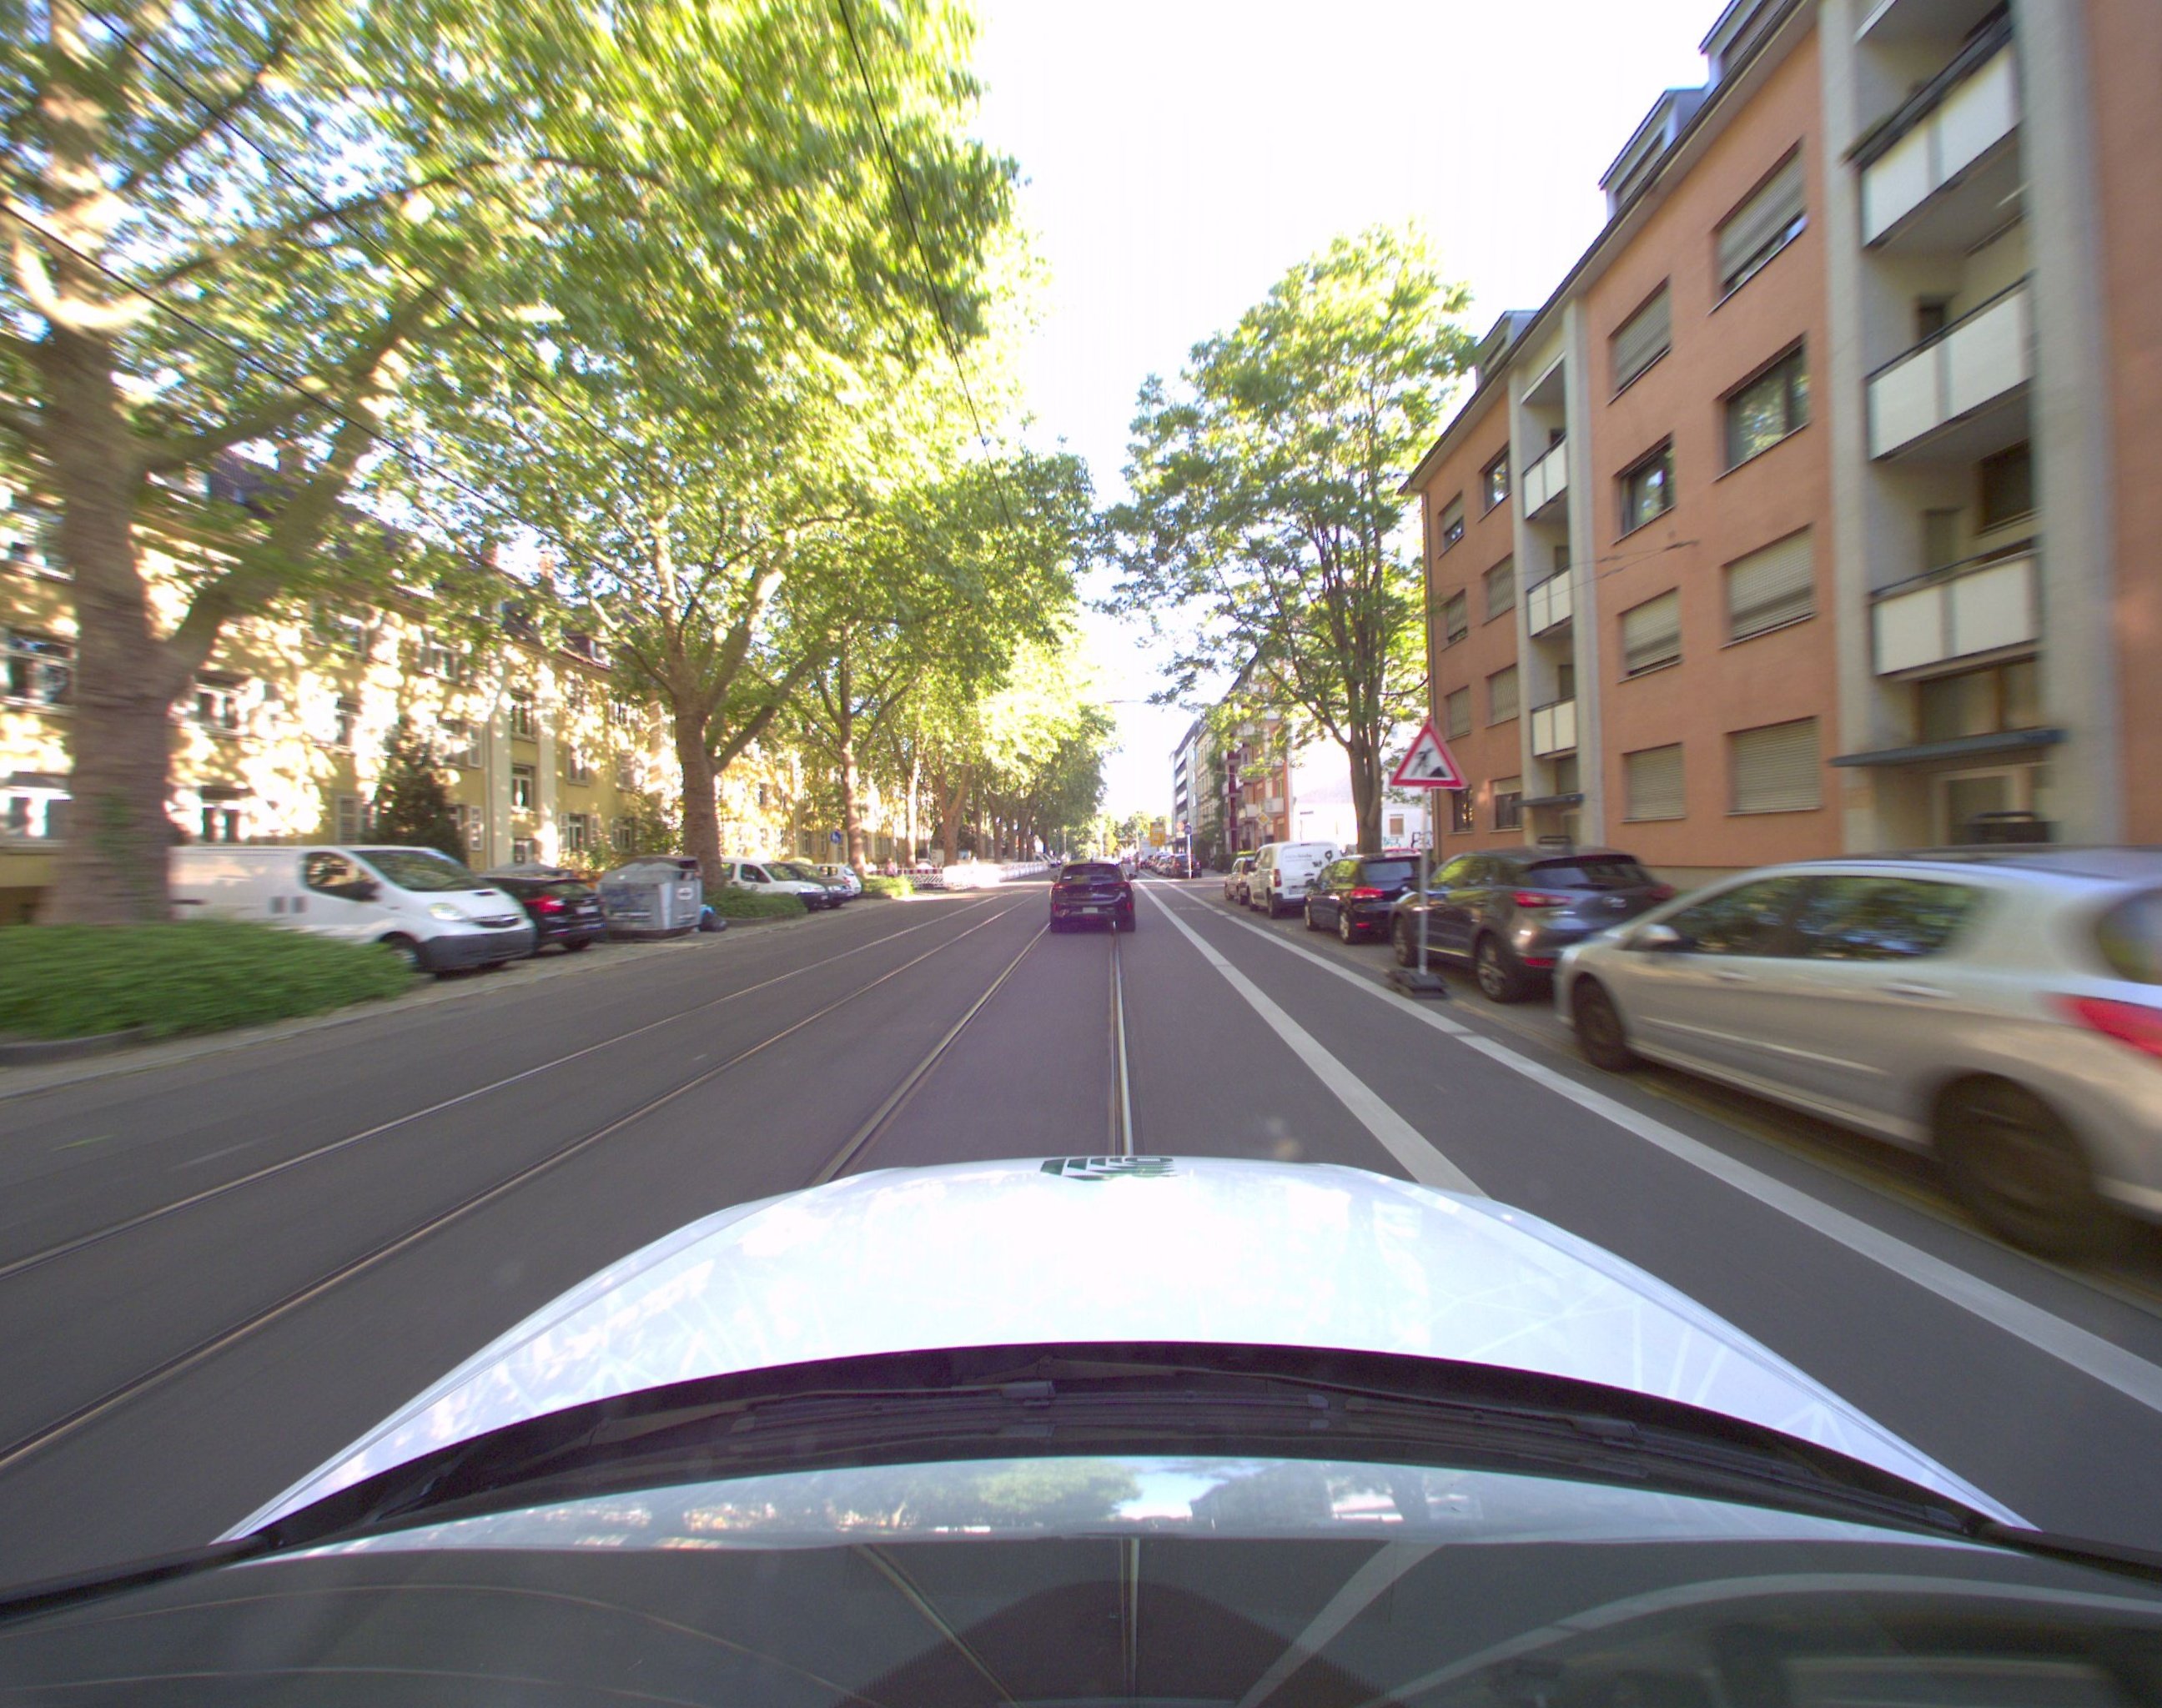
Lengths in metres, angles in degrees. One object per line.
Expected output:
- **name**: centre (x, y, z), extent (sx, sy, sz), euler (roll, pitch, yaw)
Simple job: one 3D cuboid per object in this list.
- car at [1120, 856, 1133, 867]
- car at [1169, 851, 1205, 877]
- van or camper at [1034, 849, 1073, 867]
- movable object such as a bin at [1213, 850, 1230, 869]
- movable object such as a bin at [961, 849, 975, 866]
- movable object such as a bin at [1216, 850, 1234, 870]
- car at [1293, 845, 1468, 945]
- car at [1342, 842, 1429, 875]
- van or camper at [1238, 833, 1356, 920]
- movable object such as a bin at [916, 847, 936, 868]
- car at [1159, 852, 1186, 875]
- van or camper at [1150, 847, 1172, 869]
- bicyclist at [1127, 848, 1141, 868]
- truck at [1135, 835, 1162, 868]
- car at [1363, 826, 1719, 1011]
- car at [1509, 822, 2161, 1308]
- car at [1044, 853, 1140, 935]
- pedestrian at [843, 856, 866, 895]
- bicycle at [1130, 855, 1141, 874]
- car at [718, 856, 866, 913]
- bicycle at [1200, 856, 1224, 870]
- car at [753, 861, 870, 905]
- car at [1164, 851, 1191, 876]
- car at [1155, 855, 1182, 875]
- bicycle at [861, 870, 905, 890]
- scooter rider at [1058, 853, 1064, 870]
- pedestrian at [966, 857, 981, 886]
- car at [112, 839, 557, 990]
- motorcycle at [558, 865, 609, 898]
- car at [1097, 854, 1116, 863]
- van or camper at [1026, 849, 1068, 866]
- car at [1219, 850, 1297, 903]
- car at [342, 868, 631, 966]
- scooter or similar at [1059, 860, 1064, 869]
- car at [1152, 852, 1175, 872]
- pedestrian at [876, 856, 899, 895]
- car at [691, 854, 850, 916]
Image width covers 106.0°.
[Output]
- **car**: centre (7.705, 1.190, 138.143), extent (1.986, 1.695, 4.742), euler (-4, 0, 2)
- **car**: centre (6.498, 0.597, 50.188), extent (1.727, 1.462, 3.918), euler (-4, 0, 2)
- **van or camper**: centre (-4.142, 0.560, 122.502), extent (5.701, 2.644, 2.271), euler (-1, -1, 2)
- **movable object such as a bin**: centre (9.946, 0.385, 57.739), extent (0.920, 1.327, 1.682), euler (-1, -1, 2)
- **movable object such as a bin**: centre (-10.887, 0.352, 78.315), extent (1.093, 1.645, 1.560), euler (-1, -1, 2)
- **movable object such as a bin**: centre (9.875, 0.439, 55.933), extent (0.963, 1.327, 1.722), euler (-1, -1, 2)
- **car**: centre (5.168, 0.630, 14.661), extent (1.699, 1.473, 4.170), euler (-2, 0, 2)
- **car**: centre (15.547, 0.223, 41.676), extent (3.900, 1.482, 1.562), euler (-2, 3, 0)
- **van or camper**: centre (5.234, 0.496, 20.384), extent (1.748, 1.864, 4.832), euler (-2, 0, 2)
- **movable object such as a bin**: centre (-13.919, 0.350, 73.344), extent (1.328, 1.869, 2.008), euler (-1, -1, 2)
- **car**: centre (6.601, 0.660, 58.924), extent (1.585, 1.526, 3.837), euler (-4, -1, 3)
- **van or camper**: centre (7.281, 0.319, 74.525), extent (1.662, 1.883, 4.213), euler (-3, 0, 3)
- **bicyclist**: centre (4.461, 0.348, 68.395), extent (1.085, 1.647, 1.401), euler (-1, 0, 3)
- **truck**: centre (7.534, -0.265, 91.811), extent (2.528, 3.338, 7.199), euler (-4, -1, 3)
- **car**: centre (4.940, 0.586, 9.584), extent (1.761, 1.572, 4.339), euler (-4, 0, 2)
- **car**: centre (4.431, 0.663, 4.599), extent (1.781, 1.522, 4.324), euler (-4, 0, 2)
- **car**: centre (0.270, 0.741, 17.199), extent (1.775, 1.496, 4.002), euler (-1, 0, 2)
- **pedestrian**: centre (-10.515, 0.988, 37.820), extent (0.819, 1.745, 0.797), euler (-1, -1, 2)
- **bicycle**: centre (4.577, 0.881, 68.476), extent (0.912, 1.561, 3.407), euler (-1, 0, 3)
- **car**: centre (-9.662, 0.998, 27.405), extent (4.210, 1.688, 1.938), euler (-2, 0, 9)
- **bicycle**: centre (10.998, 0.775, 68.233), extent (1.883, 1.029, 0.477), euler (-4, -1, 7)
- **car**: centre (-10.390, 1.116, 31.601), extent (3.832, 1.498, 1.863), euler (-2, 0, 2)
- **car**: centre (6.422, 0.612, 54.409), extent (1.520, 1.590, 3.754), euler (-1, -1, 3)
- **car**: centre (6.908, 0.838, 64.493), extent (1.653, 1.399, 4.742), euler (-4, 0, 2)
- **bicycle**: centre (-9.952, 1.300, 40.978), extent (1.964, 0.963, 0.726), euler (-2, 0, 2)
- **scooter rider**: centre (-2.358, 0.913, 98.067), extent (0.646, 1.957, 0.624), euler (-1, -1, 2)
- **pedestrian**: centre (-6.229, 1.002, 47.337), extent (0.714, 1.669, 0.779), euler (-1, -1, 2)
- **car**: centre (-10.725, 0.808, 12.015), extent (4.644, 1.945, 1.961), euler (-1, 0, -2)
- **motorcycle**: centre (-19.708, 1.087, 32.278), extent (1.702, 1.241, 0.523), euler (-2, 0, 3)
- **car**: centre (5.475, 1.082, 176.975), extent (1.931, 1.695, 4.276), euler (-4, 0, -34)
- **van or camper**: centre (-4.694, 0.489, 113.163), extent (5.475, 2.379, 2.273), euler (-1, -1, 5)
- **car**: centre (5.499, 0.662, 25.737), extent (1.699, 1.473, 4.002), euler (-2, 0, 2)
- **car**: centre (-10.628, 1.090, 14.764), extent (3.832, 1.498, 1.863), euler (-2, 0, 2)
- **scooter or similar**: centre (-2.350, 1.235, 98.096), extent (0.406, 1.083, 1.339), euler (-1, -1, 3)
- **car**: centre (7.031, 0.657, 69.475), extent (1.653, 1.580, 3.591), euler (-3, 0, 3)
- **pedestrian**: centre (-8.858, 0.963, 37.317), extent (0.819, 1.745, 0.797), euler (-1, -1, 2)
- **car**: centre (-9.483, 0.932, 25.102), extent (4.181, 1.757, 1.741), euler (-1, 0, 3)
